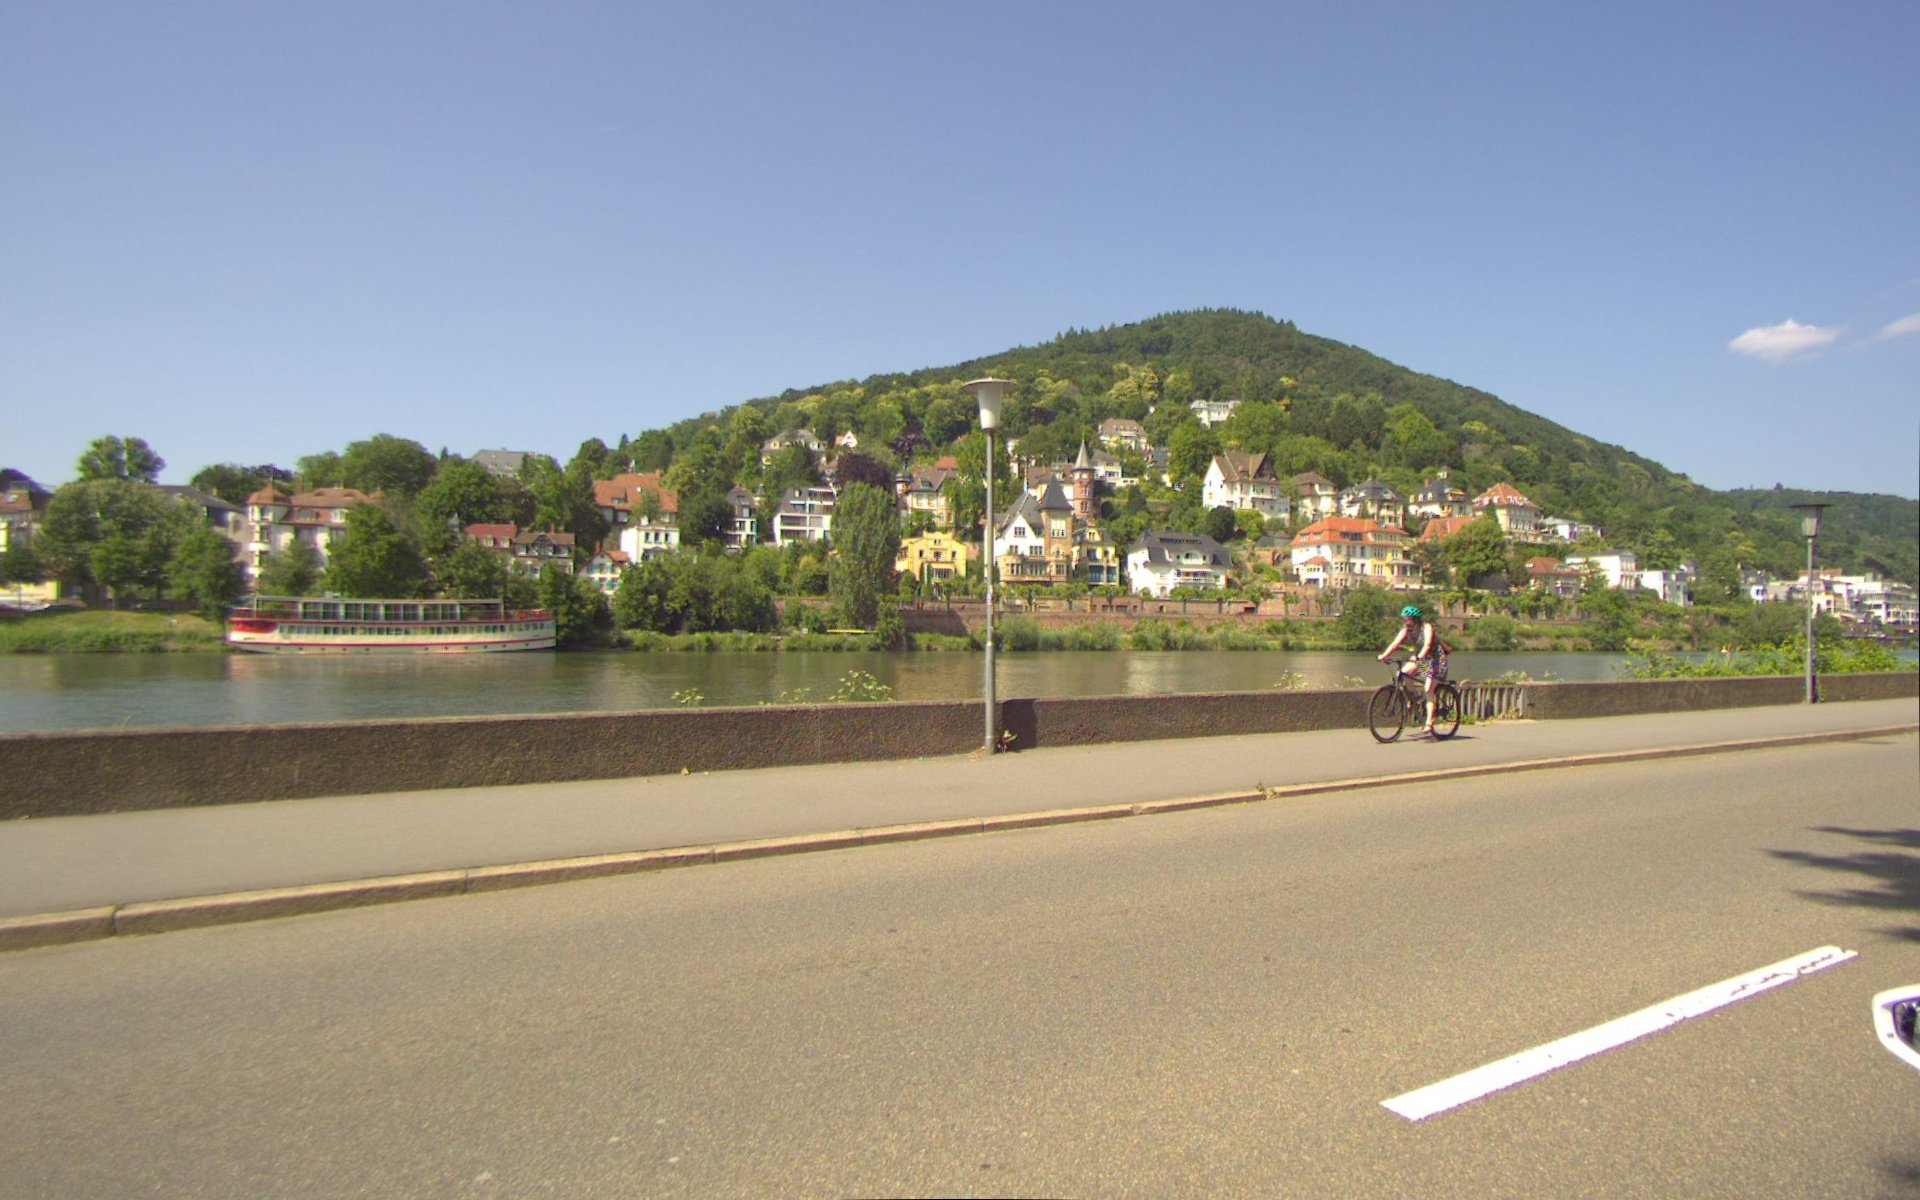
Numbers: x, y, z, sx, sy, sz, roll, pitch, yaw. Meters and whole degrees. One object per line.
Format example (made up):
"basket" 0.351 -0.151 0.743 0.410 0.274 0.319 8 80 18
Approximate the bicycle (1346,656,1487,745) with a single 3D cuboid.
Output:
"bicycle" 5.804 1.240 12.734 1.963 1.025 0.629 1 -1 -31

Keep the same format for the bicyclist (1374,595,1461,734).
"bicyclist" 5.805 0.797 12.737 0.861 1.695 0.634 1 -1 -31
